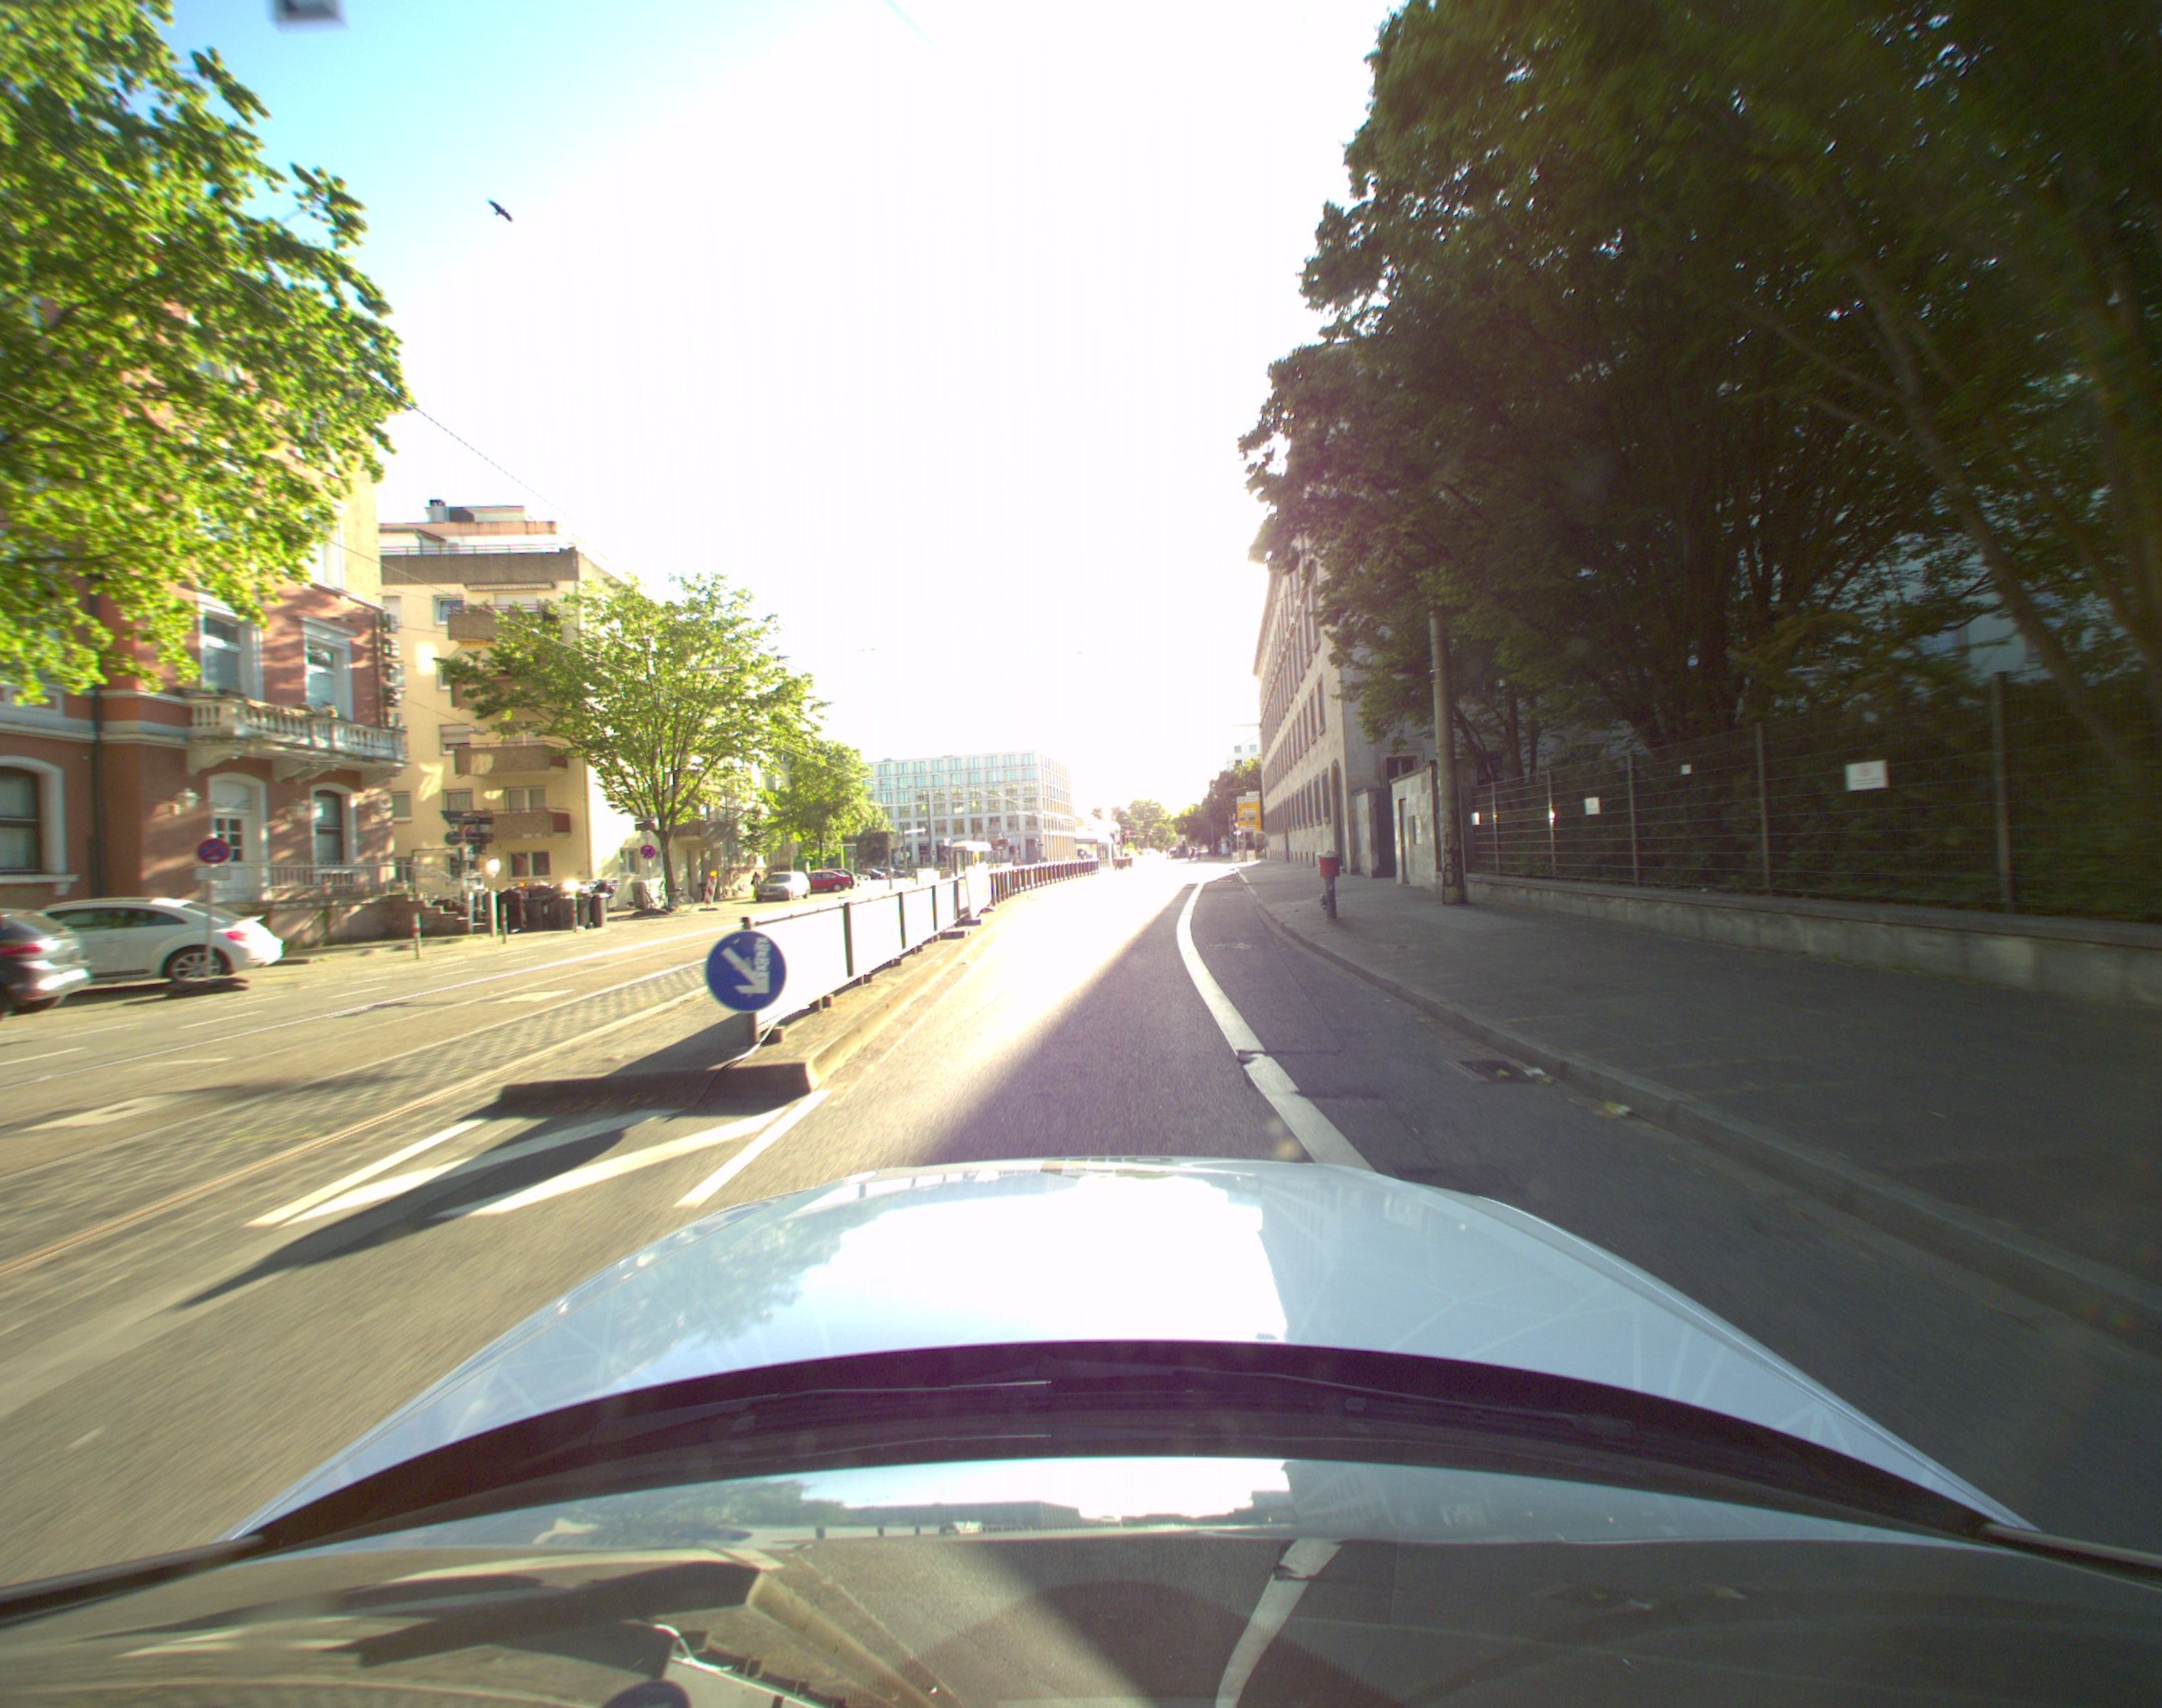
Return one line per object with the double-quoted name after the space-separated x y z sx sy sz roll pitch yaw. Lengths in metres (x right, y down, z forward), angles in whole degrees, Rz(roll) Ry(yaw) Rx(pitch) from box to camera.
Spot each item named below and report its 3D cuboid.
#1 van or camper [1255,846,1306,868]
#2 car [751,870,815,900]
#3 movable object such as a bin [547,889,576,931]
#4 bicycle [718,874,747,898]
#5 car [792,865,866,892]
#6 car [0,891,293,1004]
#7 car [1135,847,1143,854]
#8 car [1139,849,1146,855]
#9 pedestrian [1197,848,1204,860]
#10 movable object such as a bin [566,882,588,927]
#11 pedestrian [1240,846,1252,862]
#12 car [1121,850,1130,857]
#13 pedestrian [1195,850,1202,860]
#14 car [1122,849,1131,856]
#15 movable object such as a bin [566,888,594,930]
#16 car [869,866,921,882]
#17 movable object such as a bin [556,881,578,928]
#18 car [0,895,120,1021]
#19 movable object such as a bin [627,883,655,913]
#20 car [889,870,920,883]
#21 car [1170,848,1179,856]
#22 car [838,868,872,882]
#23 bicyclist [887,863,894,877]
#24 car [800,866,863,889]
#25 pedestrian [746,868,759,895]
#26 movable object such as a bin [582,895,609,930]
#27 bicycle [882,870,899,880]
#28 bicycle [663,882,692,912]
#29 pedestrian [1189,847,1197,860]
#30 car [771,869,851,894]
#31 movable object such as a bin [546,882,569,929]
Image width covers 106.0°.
27.612 0.434 112.586 6.660 2.861 2.922 -1 -1 14 "van or camper"
-15.686 1.617 43.057 1.700 1.410 4.292 -1 0 1 "car"
-15.766 1.699 24.722 0.377 1.203 0.641 -3 -1 9 "movable object such as a bin"
-22.229 2.010 52.000 0.716 1.398 3.005 -3 0 -5 "bicycle"
-17.174 1.643 55.541 4.535 1.642 1.572 -1 -2 -36 "car"
-15.617 1.437 13.216 3.937 1.522 1.715 0 -1 -40 "car"
16.581 -0.957 233.890 1.808 1.712 3.816 -3 0 10 "car"
18.015 -0.564 237.624 1.600 1.498 3.816 -3 0 10 "car"
17.871 0.051 121.625 0.847 1.784 0.778 -3 0 -7 "pedestrian"
-16.295 1.629 26.334 0.377 1.427 0.388 -3 -1 8 "movable object such as a bin"
18.165 -0.021 89.804 1.037 1.721 1.034 -3 0 -2 "pedestrian"
11.653 -0.208 211.559 1.808 1.712 3.816 -3 0 10 "car"
17.617 0.159 122.359 0.761 1.558 0.586 -3 -1 -7 "pedestrian"
12.422 -0.375 222.385 1.808 1.712 3.816 -3 0 10 "car"
-15.600 1.704 25.375 0.377 1.242 0.641 -3 -1 9 "movable object such as a bin"
-17.326 1.887 75.992 4.520 1.350 1.578 -1 -1 -23 "car"
-16.292 1.597 25.813 0.377 1.427 0.387 -3 -1 8 "movable object such as a bin"
-15.166 1.344 10.058 3.938 1.508 1.671 0 -1 -35 "car"
-17.617 1.750 32.630 0.424 1.126 1.148 -3 -1 3 "movable object such as a bin"
-22.888 2.921 105.522 3.511 1.506 1.526 -2 0 7 "car"
21.326 -0.375 185.943 1.674 1.737 3.518 -1 -1 10 "car"
-26.977 2.507 97.273 3.511 1.506 1.526 -2 0 7 "car"
-23.220 1.952 99.430 0.615 1.582 0.595 -3 -1 8 "bicyclist"
-19.472 1.823 63.546 4.520 1.570 1.578 -1 -1 -23 "car"
-20.250 1.693 50.177 0.509 1.671 0.490 -3 -1 2 "pedestrian"
-15.505 1.868 26.035 0.377 1.068 0.641 -3 -1 9 "movable object such as a bin"
-23.244 2.553 99.375 1.912 1.122 0.792 -3 0 8 "bicycle"
-16.436 1.751 33.192 0.262 1.116 1.409 -3 0 9 "bicycle"
16.621 -0.049 120.675 0.965 1.784 0.778 -3 0 -7 "pedestrian"
-17.426 1.755 52.576 4.534 1.426 1.853 -1 -2 -35 "car"
-16.329 1.599 25.390 0.377 1.427 0.388 -3 -1 8 "movable object such as a bin"
